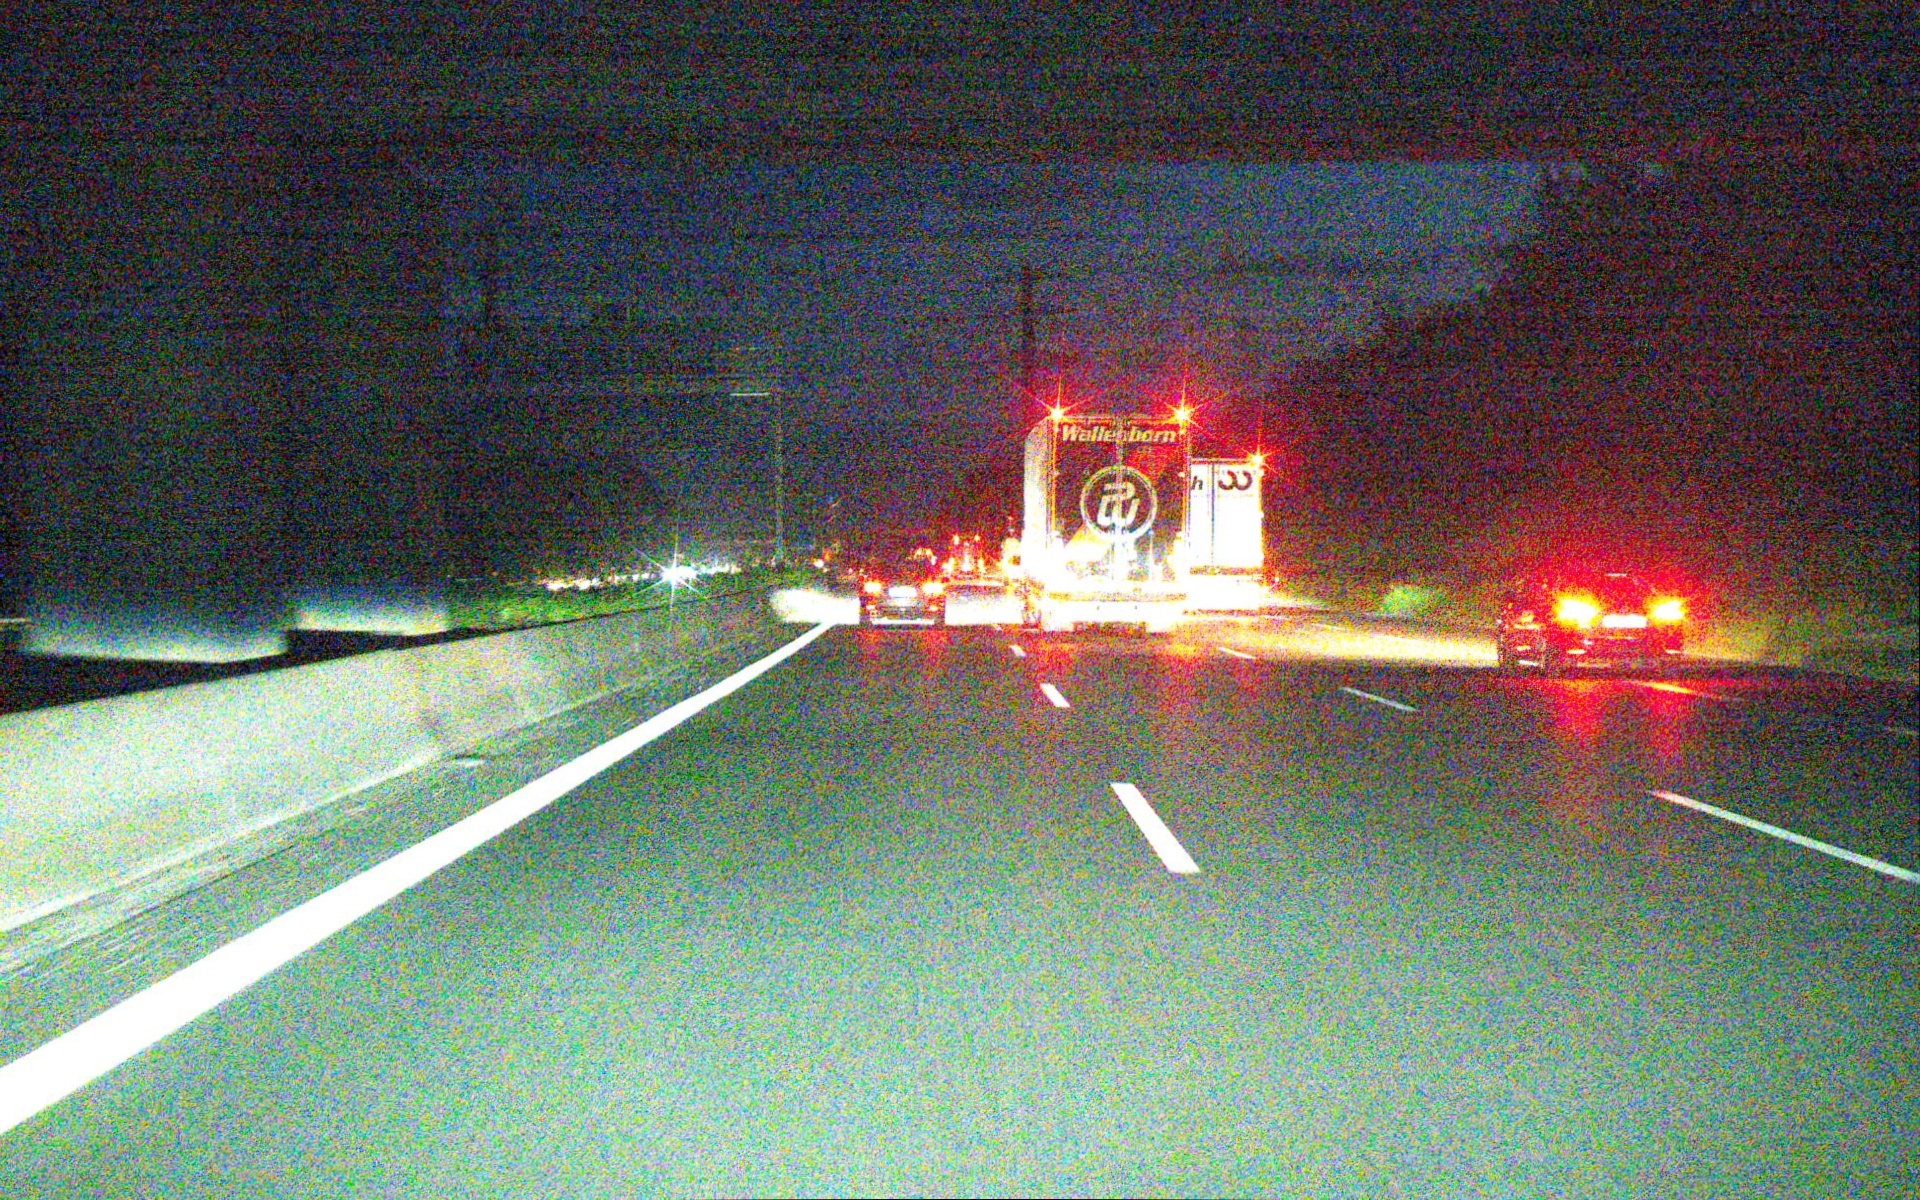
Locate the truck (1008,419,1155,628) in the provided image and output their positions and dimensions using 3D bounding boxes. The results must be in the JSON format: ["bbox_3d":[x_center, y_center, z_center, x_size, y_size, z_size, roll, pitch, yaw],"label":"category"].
[{"bbox_3d":[2.516,-1.597,73.410,2.661,4.192,6.723,1,1,-1],"label":"truck"}]

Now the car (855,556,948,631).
[{"bbox_3d":[-1.242,-0.153,71.182,1.821,1.461,4.248,1,1,-2],"label":"car"}]

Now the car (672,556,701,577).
[{"bbox_3d":[-19.469,-2.387,244.474,1.750,1.473,4.943,-2,1,-2],"label":"car"}]

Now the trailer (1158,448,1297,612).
[{"bbox_3d":[7.020,-1.819,91.500,2.591,4.058,10.009,1,1,-1],"label":"trailer"}]

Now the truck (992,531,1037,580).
[{"bbox_3d":[3.279,-2.670,208.719,2.076,2.682,7.308,1,-2,-4],"label":"truck"}]

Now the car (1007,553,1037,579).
[{"bbox_3d":[3.298,-1.815,183.524,1.346,1.382,3.502,1,1,-2],"label":"car"}]

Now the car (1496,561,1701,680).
[{"bbox_3d":[8.384,0.230,45.484,1.821,1.461,4.248,1,1,-1],"label":"car"}]

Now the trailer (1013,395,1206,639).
[{"bbox_3d":[2.706,-1.534,66.619,2.742,4.192,13.511,1,1,-1],"label":"trailer"}]

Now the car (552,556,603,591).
[{"bbox_3d":[-17.286,-1.209,155.452,1.821,1.461,4.560,-4,1,-2],"label":"car"}]
